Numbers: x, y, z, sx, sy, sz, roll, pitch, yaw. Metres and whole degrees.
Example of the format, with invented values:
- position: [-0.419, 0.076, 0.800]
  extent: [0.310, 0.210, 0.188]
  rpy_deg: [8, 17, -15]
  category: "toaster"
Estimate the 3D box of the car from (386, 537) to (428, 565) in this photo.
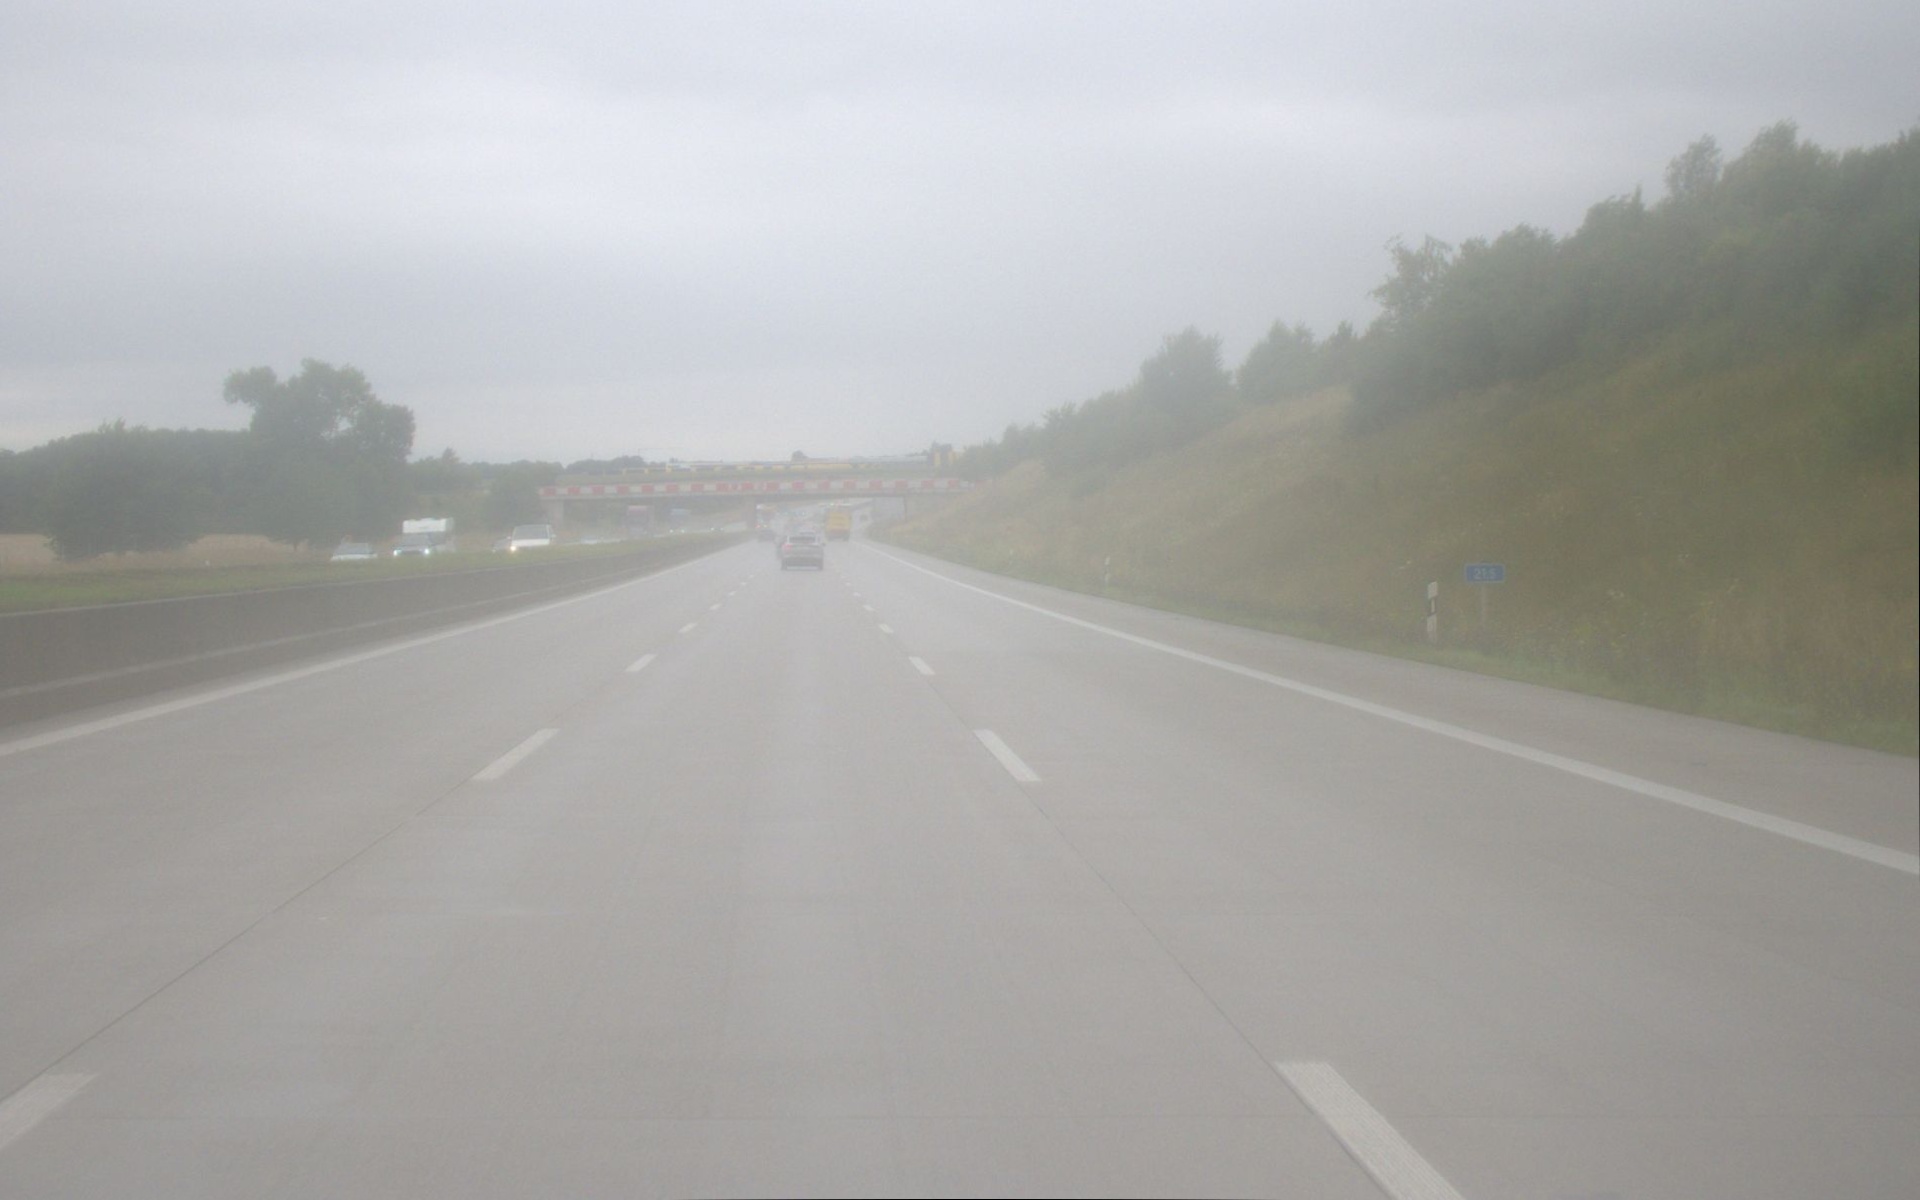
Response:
- position: [-27.814, -2.472, 173.066]
  extent: [1.672, 1.393, 4.066]
  rpy_deg: [0, 1, -3]
  category: "car"

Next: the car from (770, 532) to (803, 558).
- position: [-9.508, -3.029, 188.787]
  extent: [1.729, 1.326, 4.430]
  rpy_deg: [1, 2, -2]
  category: "car"

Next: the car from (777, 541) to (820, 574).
- position: [-7.215, -1.907, 153.148]
  extent: [1.847, 1.326, 4.431]
  rpy_deg: [0, 2, -4]
  category: "car"

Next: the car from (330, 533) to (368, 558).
- position: [-34.870, -3.132, 196.134]
  extent: [1.672, 1.393, 4.066]
  rpy_deg: [0, 1, -3]
  category: "car"
